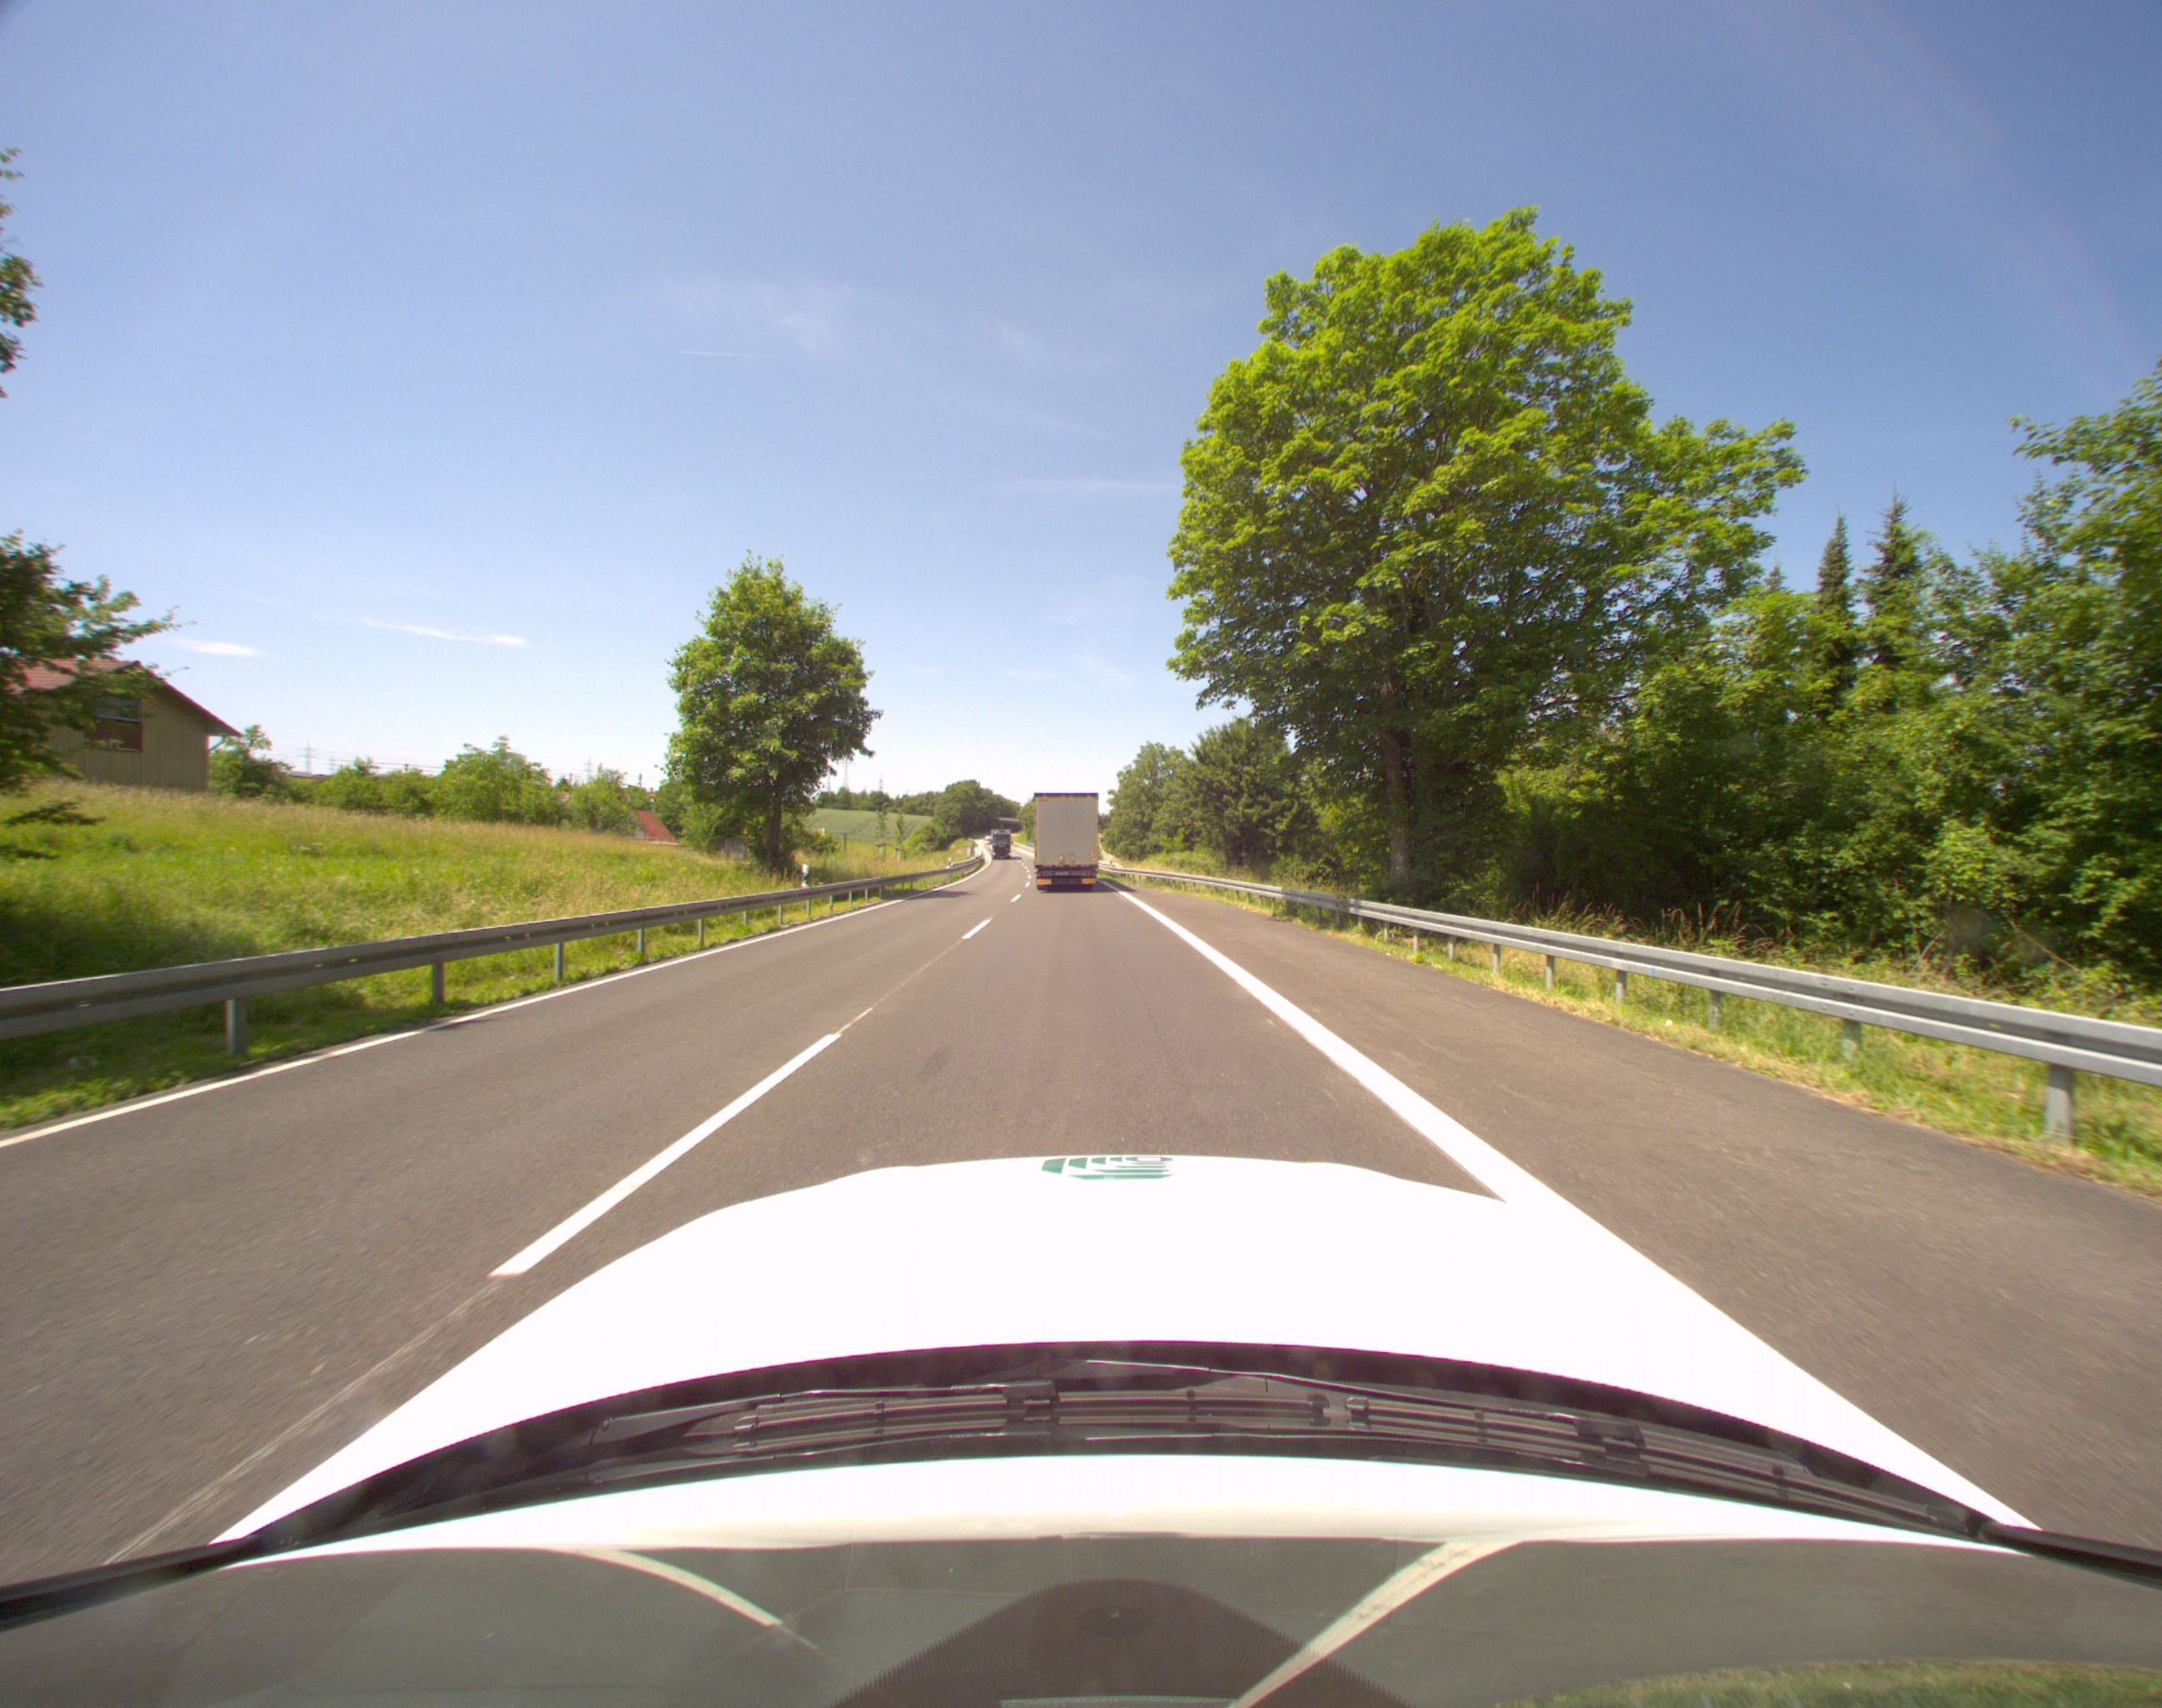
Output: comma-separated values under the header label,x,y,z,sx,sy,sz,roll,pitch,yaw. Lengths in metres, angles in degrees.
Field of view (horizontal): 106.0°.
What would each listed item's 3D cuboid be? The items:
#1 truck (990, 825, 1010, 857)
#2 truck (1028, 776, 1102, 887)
label,x,y,z,sx,sy,sz,roll,pitch,yaw
truck,-11.022,-1.729,111.438,2.440,4.194,5.642,-1,0,-3
truck,-0.935,-0.930,37.045,2.860,4.359,9.775,0,0,-4
